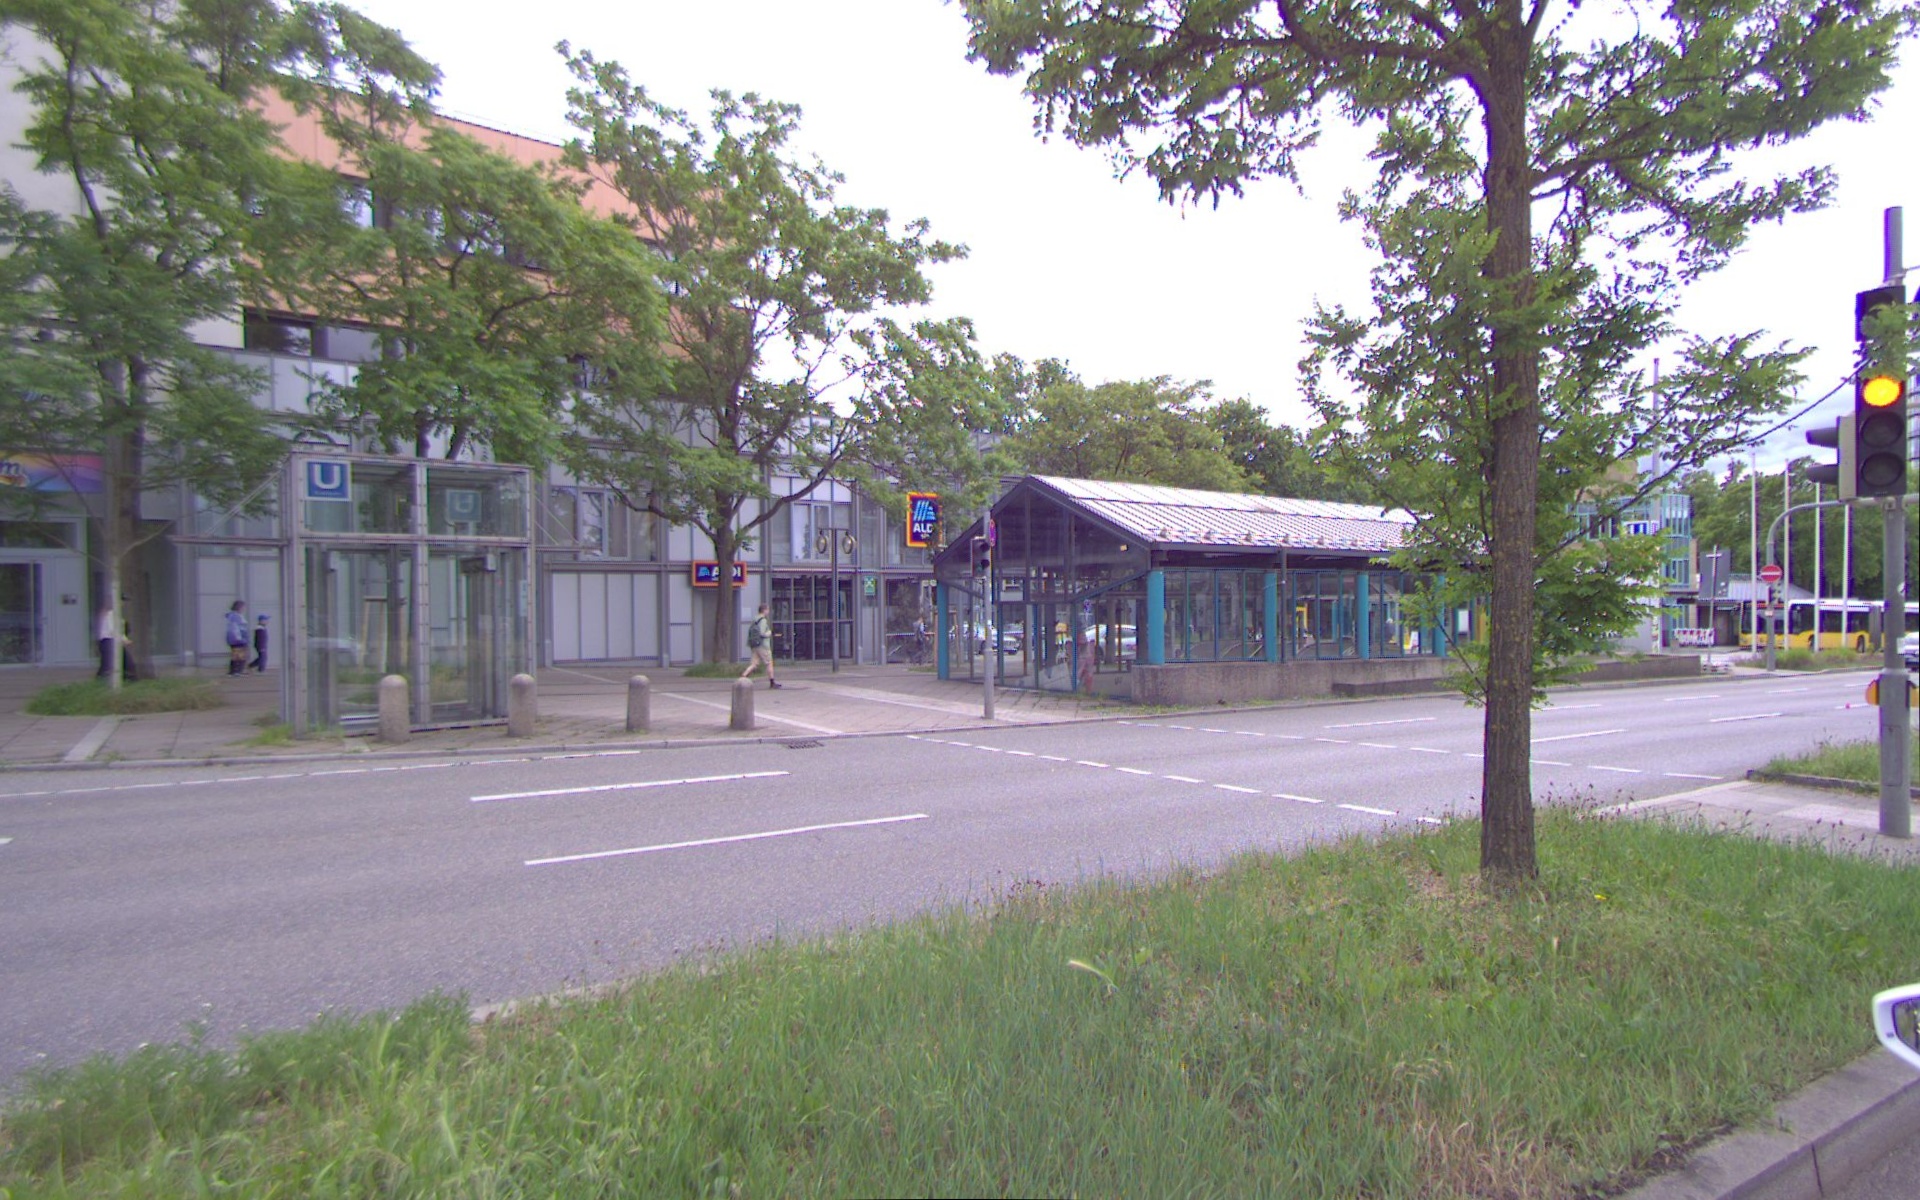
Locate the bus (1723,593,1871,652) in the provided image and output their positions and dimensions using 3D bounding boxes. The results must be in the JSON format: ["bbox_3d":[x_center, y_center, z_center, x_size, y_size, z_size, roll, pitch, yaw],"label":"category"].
[{"bbox_3d":[49.926,1.381,59.831,10.036,3.293,2.980,1,-1,-26],"label":"bus"}]

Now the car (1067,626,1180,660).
[{"bbox_3d":[5.978,1.544,36.618,3.959,1.184,1.812,1,-2,-34],"label":"car"}]

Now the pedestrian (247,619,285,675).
[{"bbox_3d":[-15.034,1.006,21.764,0.617,1.197,0.417,1,-1,-40],"label":"pedestrian"}]

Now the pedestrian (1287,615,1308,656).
[{"bbox_3d":[13.700,1.436,40.779,0.703,1.677,0.517,1,0,-37],"label":"pedestrian"}]

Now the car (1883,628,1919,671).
[{"bbox_3d":[37.551,1.914,39.171,3.316,1.599,1.673,1,-1,-36],"label":"car"}]

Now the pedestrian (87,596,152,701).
[{"bbox_3d":[-13.774,0.779,16.471,0.714,1.672,0.672,1,0,-34],"label":"pedestrian"}]

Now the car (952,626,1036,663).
[{"bbox_3d":[1.653,2.194,50.384,1.769,1.710,4.838,1,-1,-33],"label":"car"}]

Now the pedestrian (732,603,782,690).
[{"bbox_3d":[-4.392,0.997,21.744,0.530,1.857,0.916,0,-1,44],"label":"pedestrian"}]

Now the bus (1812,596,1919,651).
[{"bbox_3d":[57.923,1.543,63.771,7.771,3.313,2.980,1,-1,-26],"label":"bus"}]

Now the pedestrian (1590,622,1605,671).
[{"bbox_3d":[21.022,1.523,33.126,0.412,1.612,0.356,0,-1,31],"label":"pedestrian"}]

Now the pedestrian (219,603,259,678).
[{"bbox_3d":[-14.968,0.841,20.860,0.617,1.523,0.562,1,-1,-40],"label":"pedestrian"}]

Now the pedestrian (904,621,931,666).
[{"bbox_3d":[-1.415,1.446,33.534,0.748,1.499,0.525,1,-1,-36],"label":"pedestrian"}]
